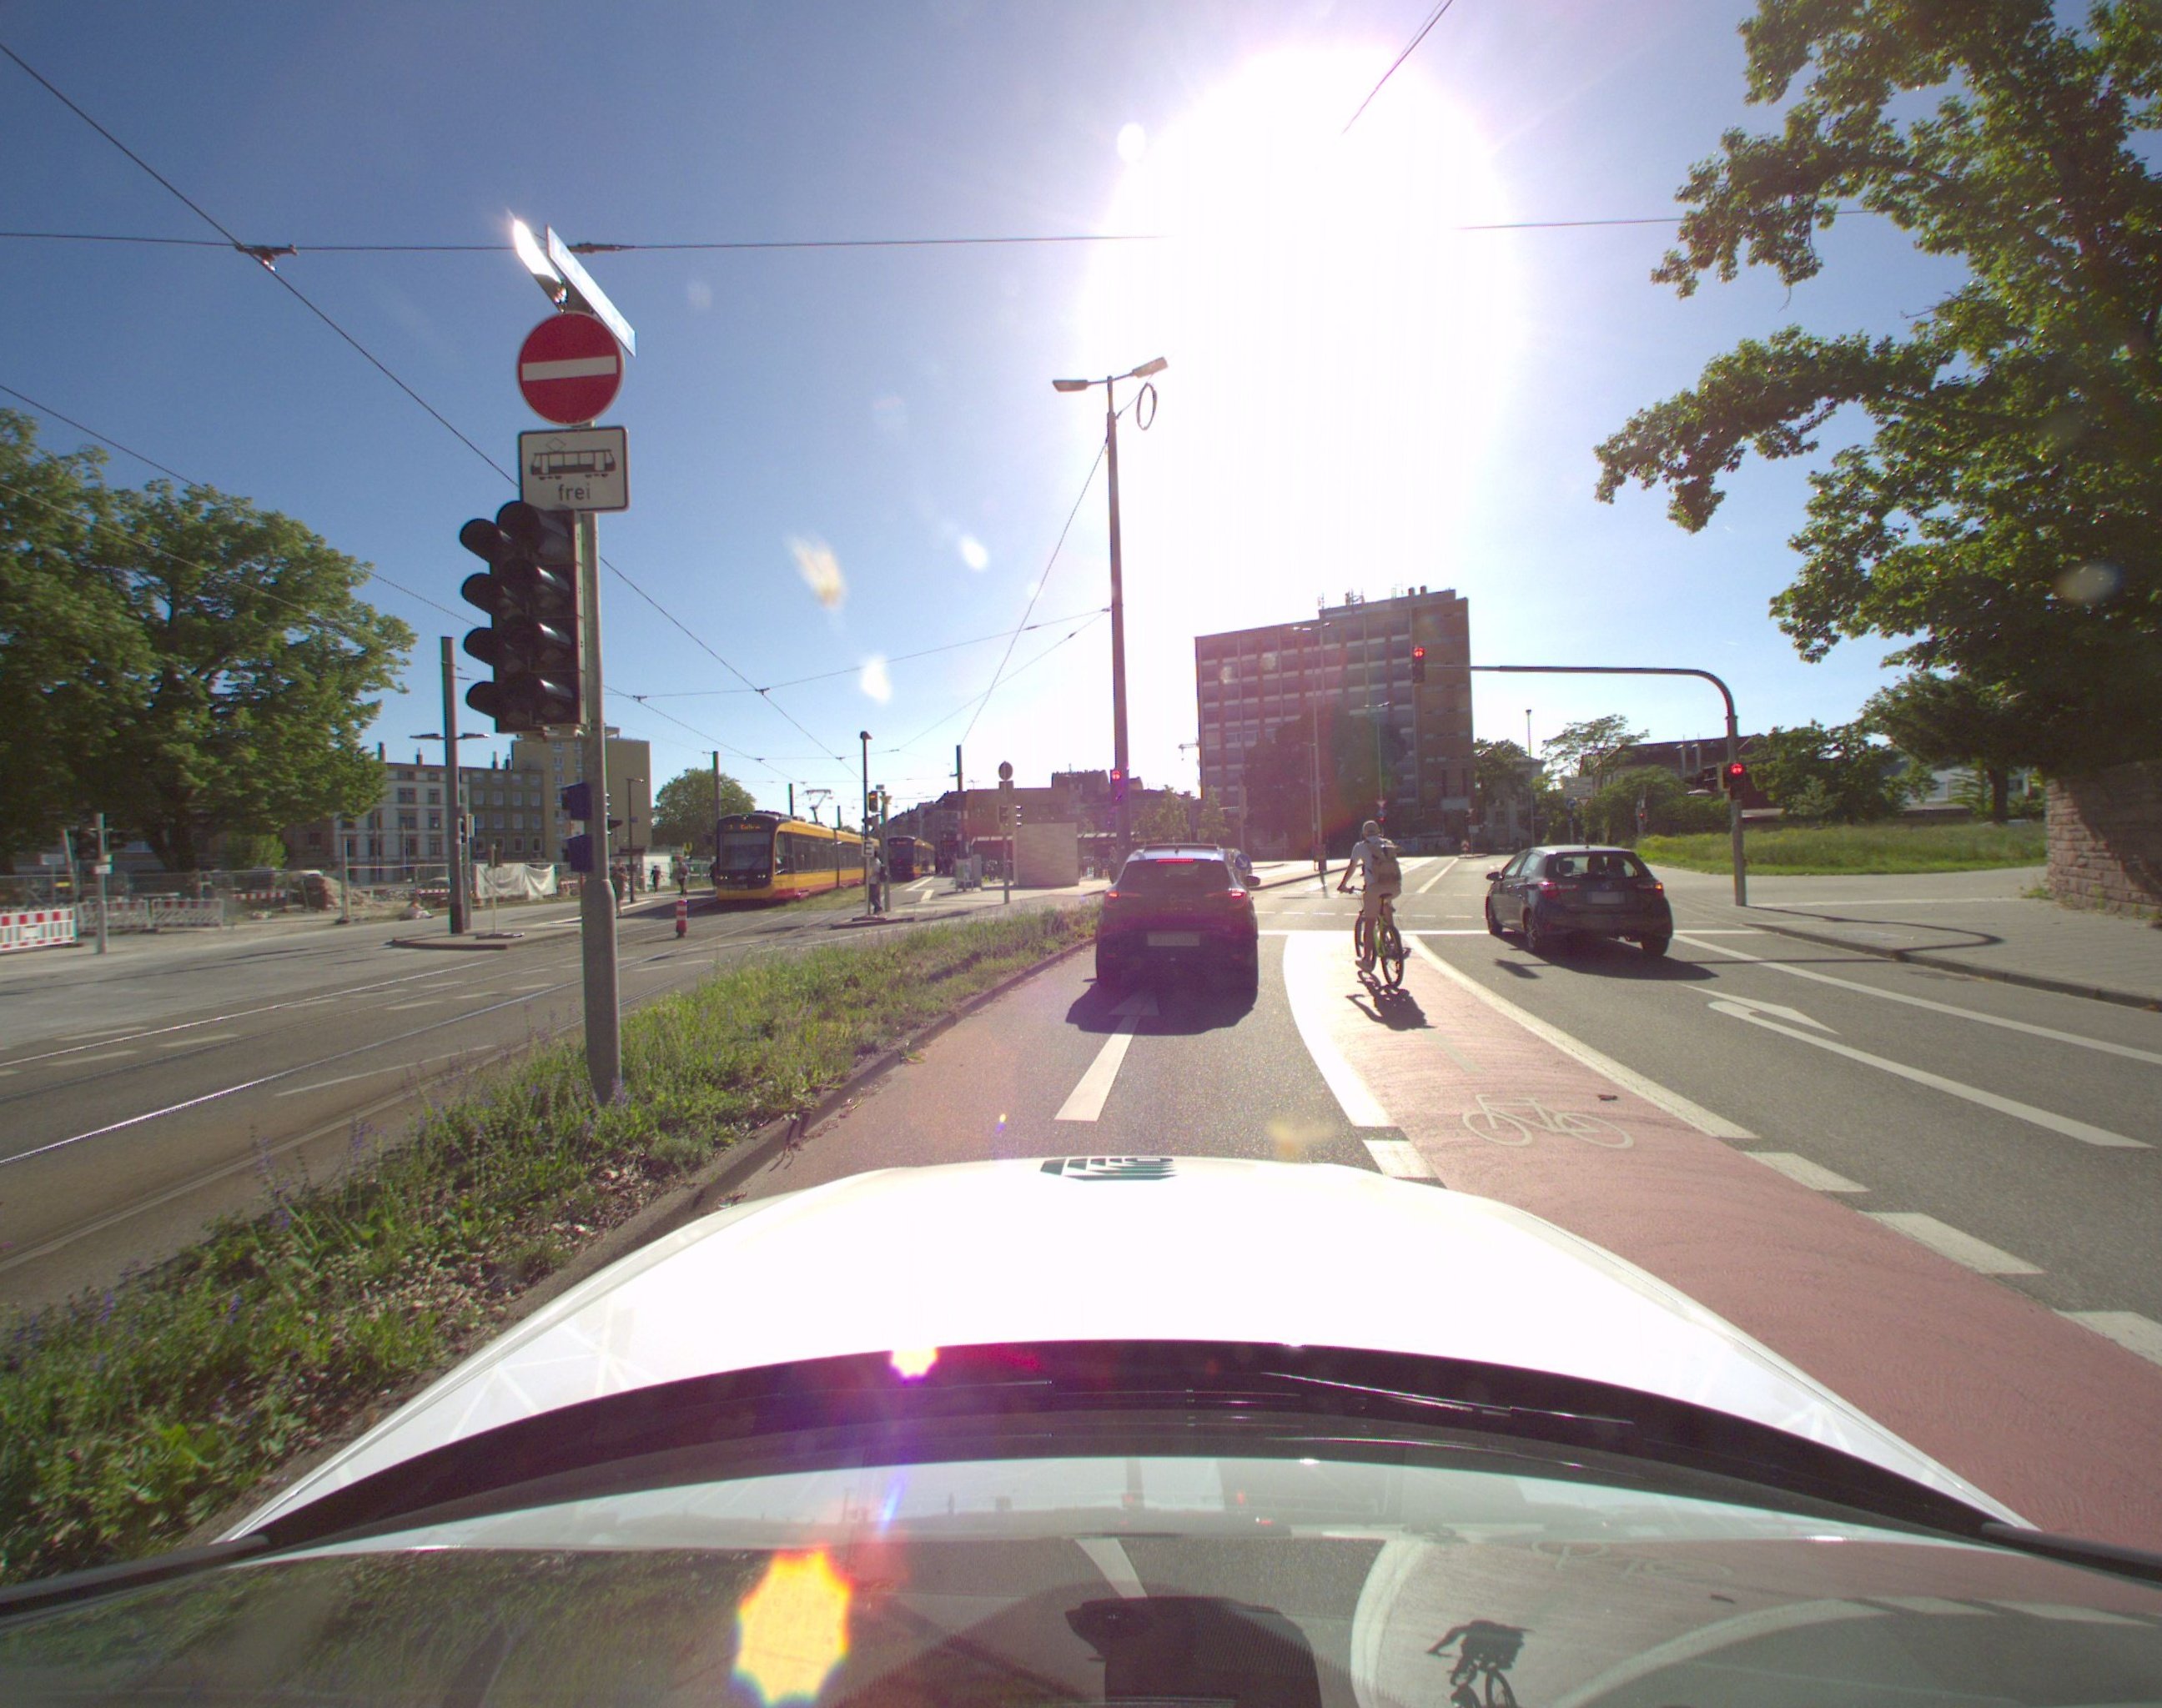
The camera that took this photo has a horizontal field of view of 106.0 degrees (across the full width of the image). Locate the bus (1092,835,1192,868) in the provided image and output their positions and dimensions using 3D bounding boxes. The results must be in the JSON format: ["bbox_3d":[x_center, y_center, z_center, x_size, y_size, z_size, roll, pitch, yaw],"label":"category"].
[{"bbox_3d":[6.619,-0.177,91.731,2.899,3.396,12.291,1,-2,-45],"label":"bus"}]

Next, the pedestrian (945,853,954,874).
[{"bbox_3d":[-11.904,0.850,73.819,0.672,1.857,0.702,-1,-1,-4],"label":"pedestrian"}]

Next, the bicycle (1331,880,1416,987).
[{"bbox_3d":[3.355,0.866,9.473,0.658,1.047,1.897,-2,0,12],"label":"bicycle"}]

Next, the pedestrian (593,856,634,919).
[{"bbox_3d":[-14.419,1.002,25.148,0.761,1.850,0.899,-2,2,-10],"label":"pedestrian"}]

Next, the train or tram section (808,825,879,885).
[{"bbox_3d":[-15.597,0.090,54.345,2.815,3.508,11.179,-1,0,-8],"label":"train or tram section"}]

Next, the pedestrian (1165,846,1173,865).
[{"bbox_3d":[8.715,0.125,80.867,0.723,1.857,0.703,-1,-1,1],"label":"pedestrian"}]

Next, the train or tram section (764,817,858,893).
[{"bbox_3d":[-14.155,0.065,43.625,2.815,3.508,10.582,-1,0,-8],"label":"train or tram section"}]

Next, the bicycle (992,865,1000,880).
[{"bbox_3d":[-5.446,1.196,51.992,0.421,0.938,1.301,0,0,-10],"label":"bicycle"}]

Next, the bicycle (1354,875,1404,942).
[{"bbox_3d":[4.886,0.850,13.390,0.716,0.960,1.893,-1,0,19],"label":"bicycle"}]

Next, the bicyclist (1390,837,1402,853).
[{"bbox_3d":[36.783,-1.031,95.090,1.146,1.797,0.890,-2,-2,30],"label":"bicyclist"}]

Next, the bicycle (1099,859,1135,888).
[{"bbox_3d":[1.420,0.741,31.724,0.767,1.080,2.045,-3,-1,20],"label":"bicycle"}]

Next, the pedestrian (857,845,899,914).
[{"bbox_3d":[-5.528,0.674,22.151,1.019,1.832,0.755,0,-1,-19],"label":"pedestrian"}]

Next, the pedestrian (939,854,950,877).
[{"bbox_3d":[-11.127,0.953,66.434,0.847,1.883,0.758,-1,-1,-10],"label":"pedestrian"}]

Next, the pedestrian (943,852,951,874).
[{"bbox_3d":[-11.690,0.793,71.133,0.633,1.857,0.699,0,-1,-14],"label":"pedestrian"}]

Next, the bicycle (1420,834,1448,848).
[{"bbox_3d":[40.467,-1.515,93.369,2.775,1.541,0.890,-2,-2,30],"label":"bicycle"}]

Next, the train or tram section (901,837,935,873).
[{"bbox_3d":[-16.867,0.126,84.942,2.870,3.508,10.511,-1,0,-9],"label":"train or tram section"}]

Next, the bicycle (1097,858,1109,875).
[{"bbox_3d":[1.411,0.825,52.568,0.579,1.088,2.056,-1,-1,-3],"label":"bicycle"}]

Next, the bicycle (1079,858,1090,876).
[{"bbox_3d":[0.204,0.843,52.596,0.579,1.088,2.056,-1,-1,-3],"label":"bicycle"}]

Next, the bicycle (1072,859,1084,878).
[{"bbox_3d":[-0.187,0.842,46.564,0.579,1.058,1.814,-1,-1,-3],"label":"bicycle"}]

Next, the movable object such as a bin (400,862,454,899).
[{"bbox_3d":[-49.825,2.016,62.008,3.949,2.796,1.844,-2,-2,29],"label":"movable object such as a bin"}]

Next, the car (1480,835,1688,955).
[{"bbox_3d":[7.408,0.528,12.415,1.743,1.541,3.674,-1,0,16],"label":"car"}]

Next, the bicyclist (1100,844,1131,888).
[{"bbox_3d":[1.349,0.465,31.727,0.872,1.644,1.065,-3,-1,19],"label":"bicyclist"}]

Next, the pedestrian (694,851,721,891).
[{"bbox_3d":[-19.062,0.853,41.569,0.958,2.014,0.998,-1,-1,-2],"label":"pedestrian"}]

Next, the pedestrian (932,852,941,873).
[{"bbox_3d":[-12.793,0.754,71.975,0.740,1.918,0.739,-1,-1,-9],"label":"pedestrian"}]

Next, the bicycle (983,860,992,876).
[{"bbox_3d":[-6.493,1.006,56.691,0.565,1.093,2.025,-1,-1,-5],"label":"bicycle"}]

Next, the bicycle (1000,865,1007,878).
[{"bbox_3d":[-5.431,1.220,57.037,0.421,0.938,1.376,0,0,-6],"label":"bicycle"}]

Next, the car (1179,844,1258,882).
[{"bbox_3d":[5.691,0.330,33.376,1.783,1.393,4.118,-2,0,30],"label":"car"}]

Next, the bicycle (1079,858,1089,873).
[{"bbox_3d":[0.207,0.872,60.106,0.579,1.088,1.867,-1,-1,-6],"label":"bicycle"}]

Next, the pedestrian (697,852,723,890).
[{"bbox_3d":[-20.041,0.914,43.968,0.958,2.014,0.998,-1,-1,-2],"label":"pedestrian"}]

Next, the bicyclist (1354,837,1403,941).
[{"bbox_3d":[4.883,0.543,13.387,0.715,1.626,1.060,-1,0,19],"label":"bicyclist"}]

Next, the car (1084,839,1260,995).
[{"bbox_3d":[1.279,0.645,10.290,1.811,1.600,3.670,-1,0,11],"label":"car"}]

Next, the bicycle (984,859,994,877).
[{"bbox_3d":[-5.675,0.867,50.285,0.565,1.093,2.025,-1,-1,-5],"label":"bicycle"}]

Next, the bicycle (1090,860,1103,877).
[{"bbox_3d":[0.860,0.833,46.854,0.579,0.961,2.056,-1,-1,-3],"label":"bicycle"}]

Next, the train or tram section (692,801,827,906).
[{"bbox_3d":[-12.688,-0.001,33.253,2.817,3.508,10.445,-2,0,-9],"label":"train or tram section"}]

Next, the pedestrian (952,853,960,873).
[{"bbox_3d":[-11.770,0.835,76.794,0.740,1.918,0.740,0,-1,-11],"label":"pedestrian"}]

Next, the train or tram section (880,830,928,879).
[{"bbox_3d":[-13.809,0.060,64.256,2.870,3.508,10.511,-1,0,-9],"label":"train or tram section"}]

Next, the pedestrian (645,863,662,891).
[{"bbox_3d":[-26.948,1.444,51.302,0.667,1.767,0.797,-2,0,-10],"label":"pedestrian"}]

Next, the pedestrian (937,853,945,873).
[{"bbox_3d":[-13.160,0.867,76.338,0.631,1.857,0.702,-1,-1,-4],"label":"pedestrian"}]

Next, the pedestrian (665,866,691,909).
[{"bbox_3d":[-17.276,1.434,34.926,0.866,1.767,0.966,-2,0,-23],"label":"pedestrian"}]

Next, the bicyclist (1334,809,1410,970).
[{"bbox_3d":[3.317,0.388,9.354,0.659,1.747,1.009,-2,0,12],"label":"bicyclist"}]

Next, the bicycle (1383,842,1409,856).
[{"bbox_3d":[36.786,-0.628,95.088,2.775,1.541,0.890,-2,-2,30],"label":"bicycle"}]

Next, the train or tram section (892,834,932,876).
[{"bbox_3d":[-15.355,0.084,74.560,2.870,3.508,10.511,-1,0,-9],"label":"train or tram section"}]

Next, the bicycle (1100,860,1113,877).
[{"bbox_3d":[1.476,0.825,46.891,0.579,0.961,2.056,-1,-1,-3],"label":"bicycle"}]
